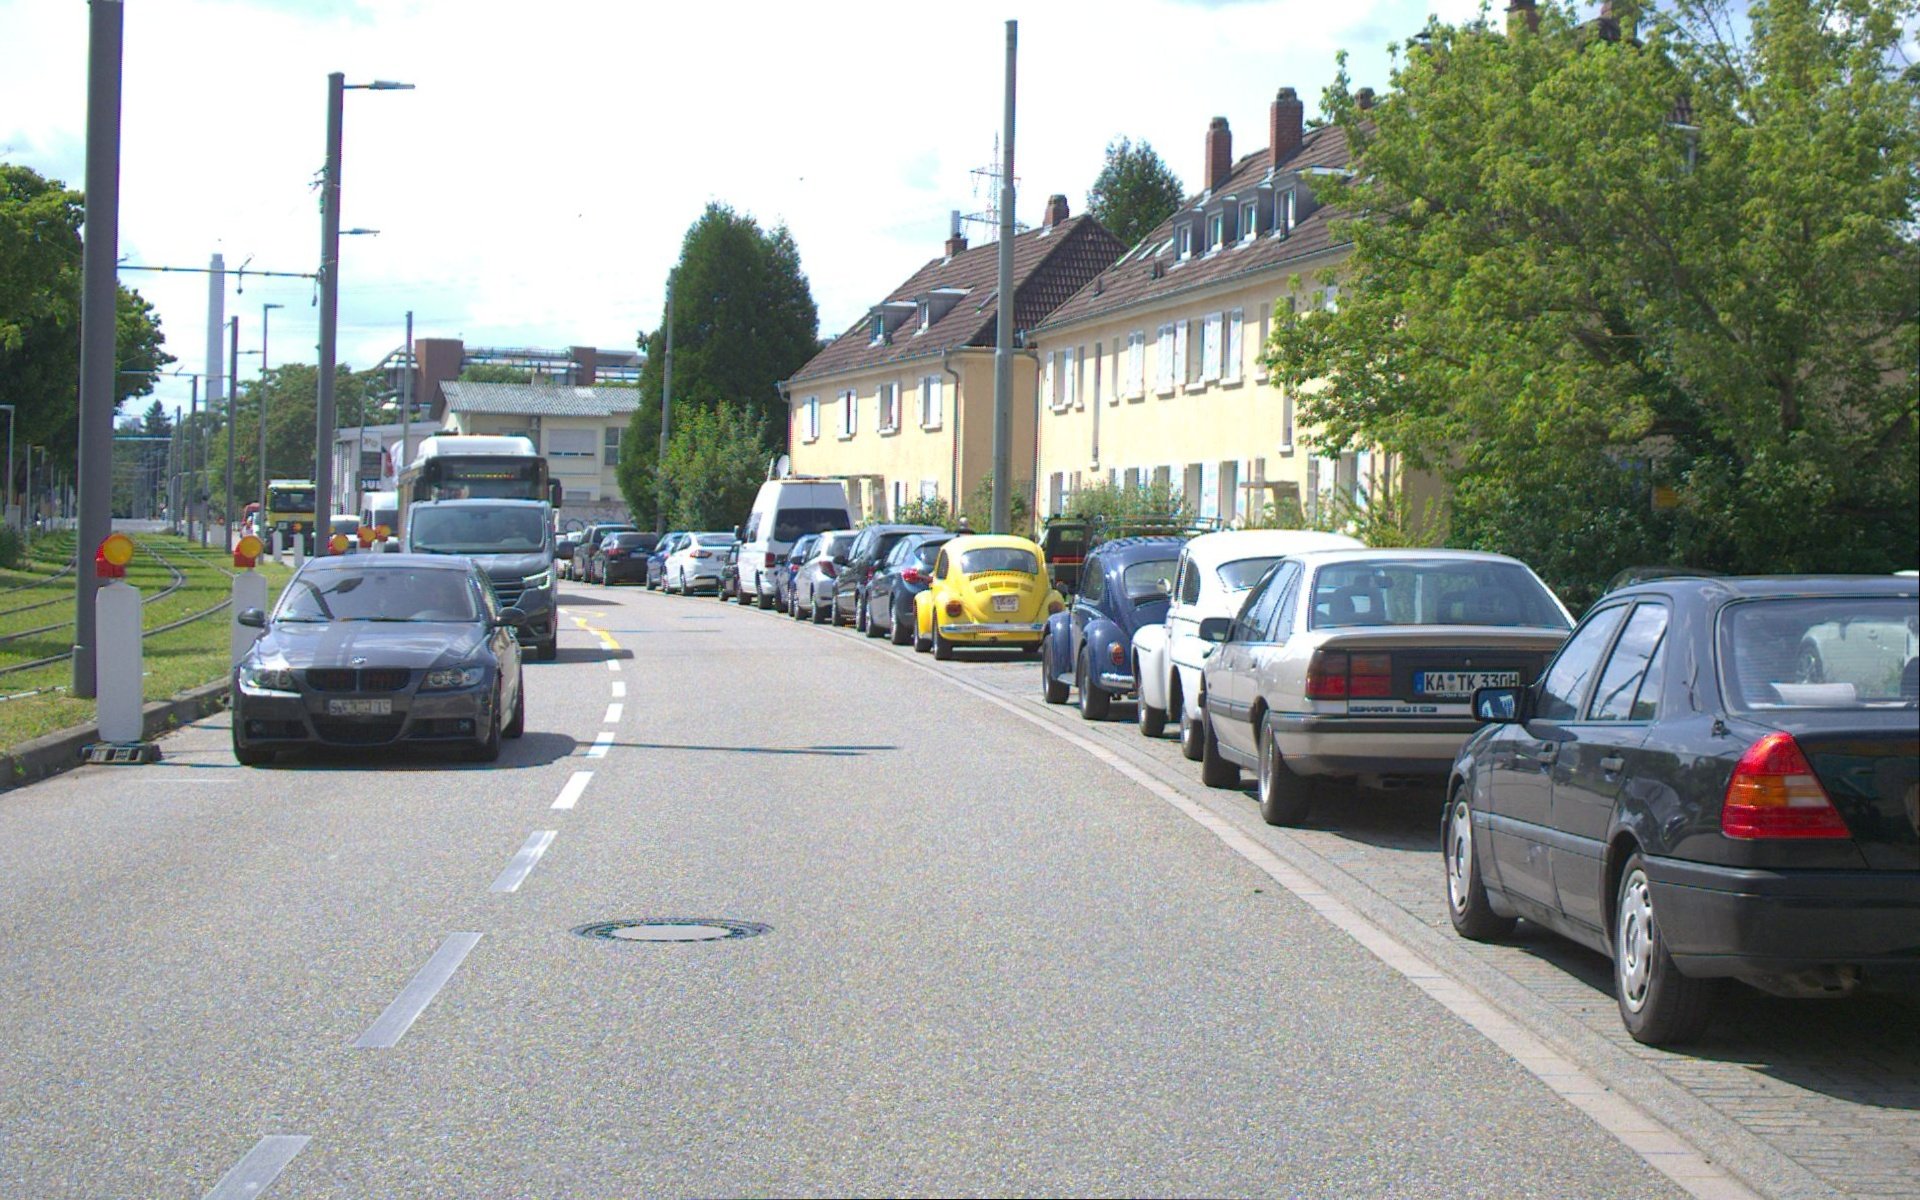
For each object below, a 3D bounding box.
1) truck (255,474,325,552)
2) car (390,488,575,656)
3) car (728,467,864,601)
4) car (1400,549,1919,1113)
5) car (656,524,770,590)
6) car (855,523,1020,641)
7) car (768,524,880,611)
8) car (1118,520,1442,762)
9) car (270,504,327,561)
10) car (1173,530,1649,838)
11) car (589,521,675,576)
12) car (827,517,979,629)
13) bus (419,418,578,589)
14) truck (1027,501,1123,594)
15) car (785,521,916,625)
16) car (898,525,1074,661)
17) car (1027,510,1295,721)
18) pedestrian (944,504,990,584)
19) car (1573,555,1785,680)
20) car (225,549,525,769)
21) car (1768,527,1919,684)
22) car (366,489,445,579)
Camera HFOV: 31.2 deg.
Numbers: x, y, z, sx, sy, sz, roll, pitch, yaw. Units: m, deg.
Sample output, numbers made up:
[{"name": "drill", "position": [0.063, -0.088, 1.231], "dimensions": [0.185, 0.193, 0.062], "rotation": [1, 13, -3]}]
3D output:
[{"name": "truck", "position": [-30.633, -3.995, 157.084], "dimensions": [2.559, 3.447, 7.152], "rotation": [-1, 2, -15]}, {"name": "car", "position": [-5.916, -0.391, 43.124], "dimensions": [1.955, 1.959, 5.294], "rotation": [0, 1, -4]}, {"name": "car", "position": [-3.209, -1.276, 66.289], "dimensions": [1.929, 2.472, 5.519], "rotation": [0, 1, -10]}, {"name": "car", "position": [2.656, 0.588, 11.292], "dimensions": [1.577, 1.444, 4.454], "rotation": [1, 1, -3]}, {"name": "car", "position": [-5.691, -0.995, 78.713], "dimensions": [1.798, 1.453, 4.767], "rotation": [-1, 1, -14]}, {"name": "car", "position": [-0.355, -0.277, 46.910], "dimensions": [1.636, 1.477, 4.126], "rotation": [1, 1, -9]}, {"name": "car", "position": [-2.440, -0.598, 60.989], "dimensions": [1.536, 1.440, 3.738], "rotation": [1, 1, -9]}, {"name": "car", "position": [2.143, 0.215, 24.116], "dimensions": [1.577, 1.507, 4.460], "rotation": [1, 1, -3]}, {"name": "car", "position": [-21.317, -2.196, 110.904], "dimensions": [1.734, 1.767, 4.310], "rotation": [1, 1, -11]}, {"name": "car", "position": [2.332, 0.360, 19.023], "dimensions": [1.706, 1.444, 4.836], "rotation": [1, 1, -3]}, {"name": "car", "position": [-8.880, -1.413, 92.894], "dimensions": [1.763, 1.412, 4.001], "rotation": [-1, 2, -13]}, {"name": "car", "position": [-0.912, -0.440, 52.295], "dimensions": [1.636, 1.597, 3.933], "rotation": [1, 1, -11]}, {"name": "bus", "position": [-10.123, -2.072, 74.440], "dimensions": [2.635, 3.400, 12.252], "rotation": [0, 1, -11]}, {"name": "truck", "position": [2.151, -0.991, 64.667], "dimensions": [1.346, 1.683, 2.442], "rotation": [1, 1, -9]}, {"name": "car", "position": [-1.836, -0.477, 56.435], "dimensions": [1.636, 1.597, 4.030], "rotation": [1, 1, -9]}, {"name": "car", "position": [0.266, -0.121, 41.711], "dimensions": [1.636, 1.477, 3.933], "rotation": [-2, 2, -7]}, {"name": "car", "position": [1.629, 0.077, 29.234], "dimensions": [1.548, 1.635, 4.248], "rotation": [1, 1, -6]}, {"name": "pedestrian", "position": [0.146, -1.182, 72.651], "dimensions": [0.853, 1.646, 0.637], "rotation": [2, 1, -8]}, {"name": "car", "position": [8.481, 0.168, 40.864], "dimensions": [1.636, 1.350, 4.088], "rotation": [1, 1, 0]}, {"name": "car", "position": [-4.064, 0.350, 24.424], "dimensions": [1.724, 1.384, 4.122], "rotation": [-1, 1, -5]}, {"name": "car", "position": [9.039, 0.024, 31.877], "dimensions": [1.636, 1.369, 4.089], "rotation": [1, 1, -8]}, {"name": "car", "position": [-15.779, -1.876, 97.694], "dimensions": [2.102, 2.435, 5.573], "rotation": [1, 1, -10]}]
